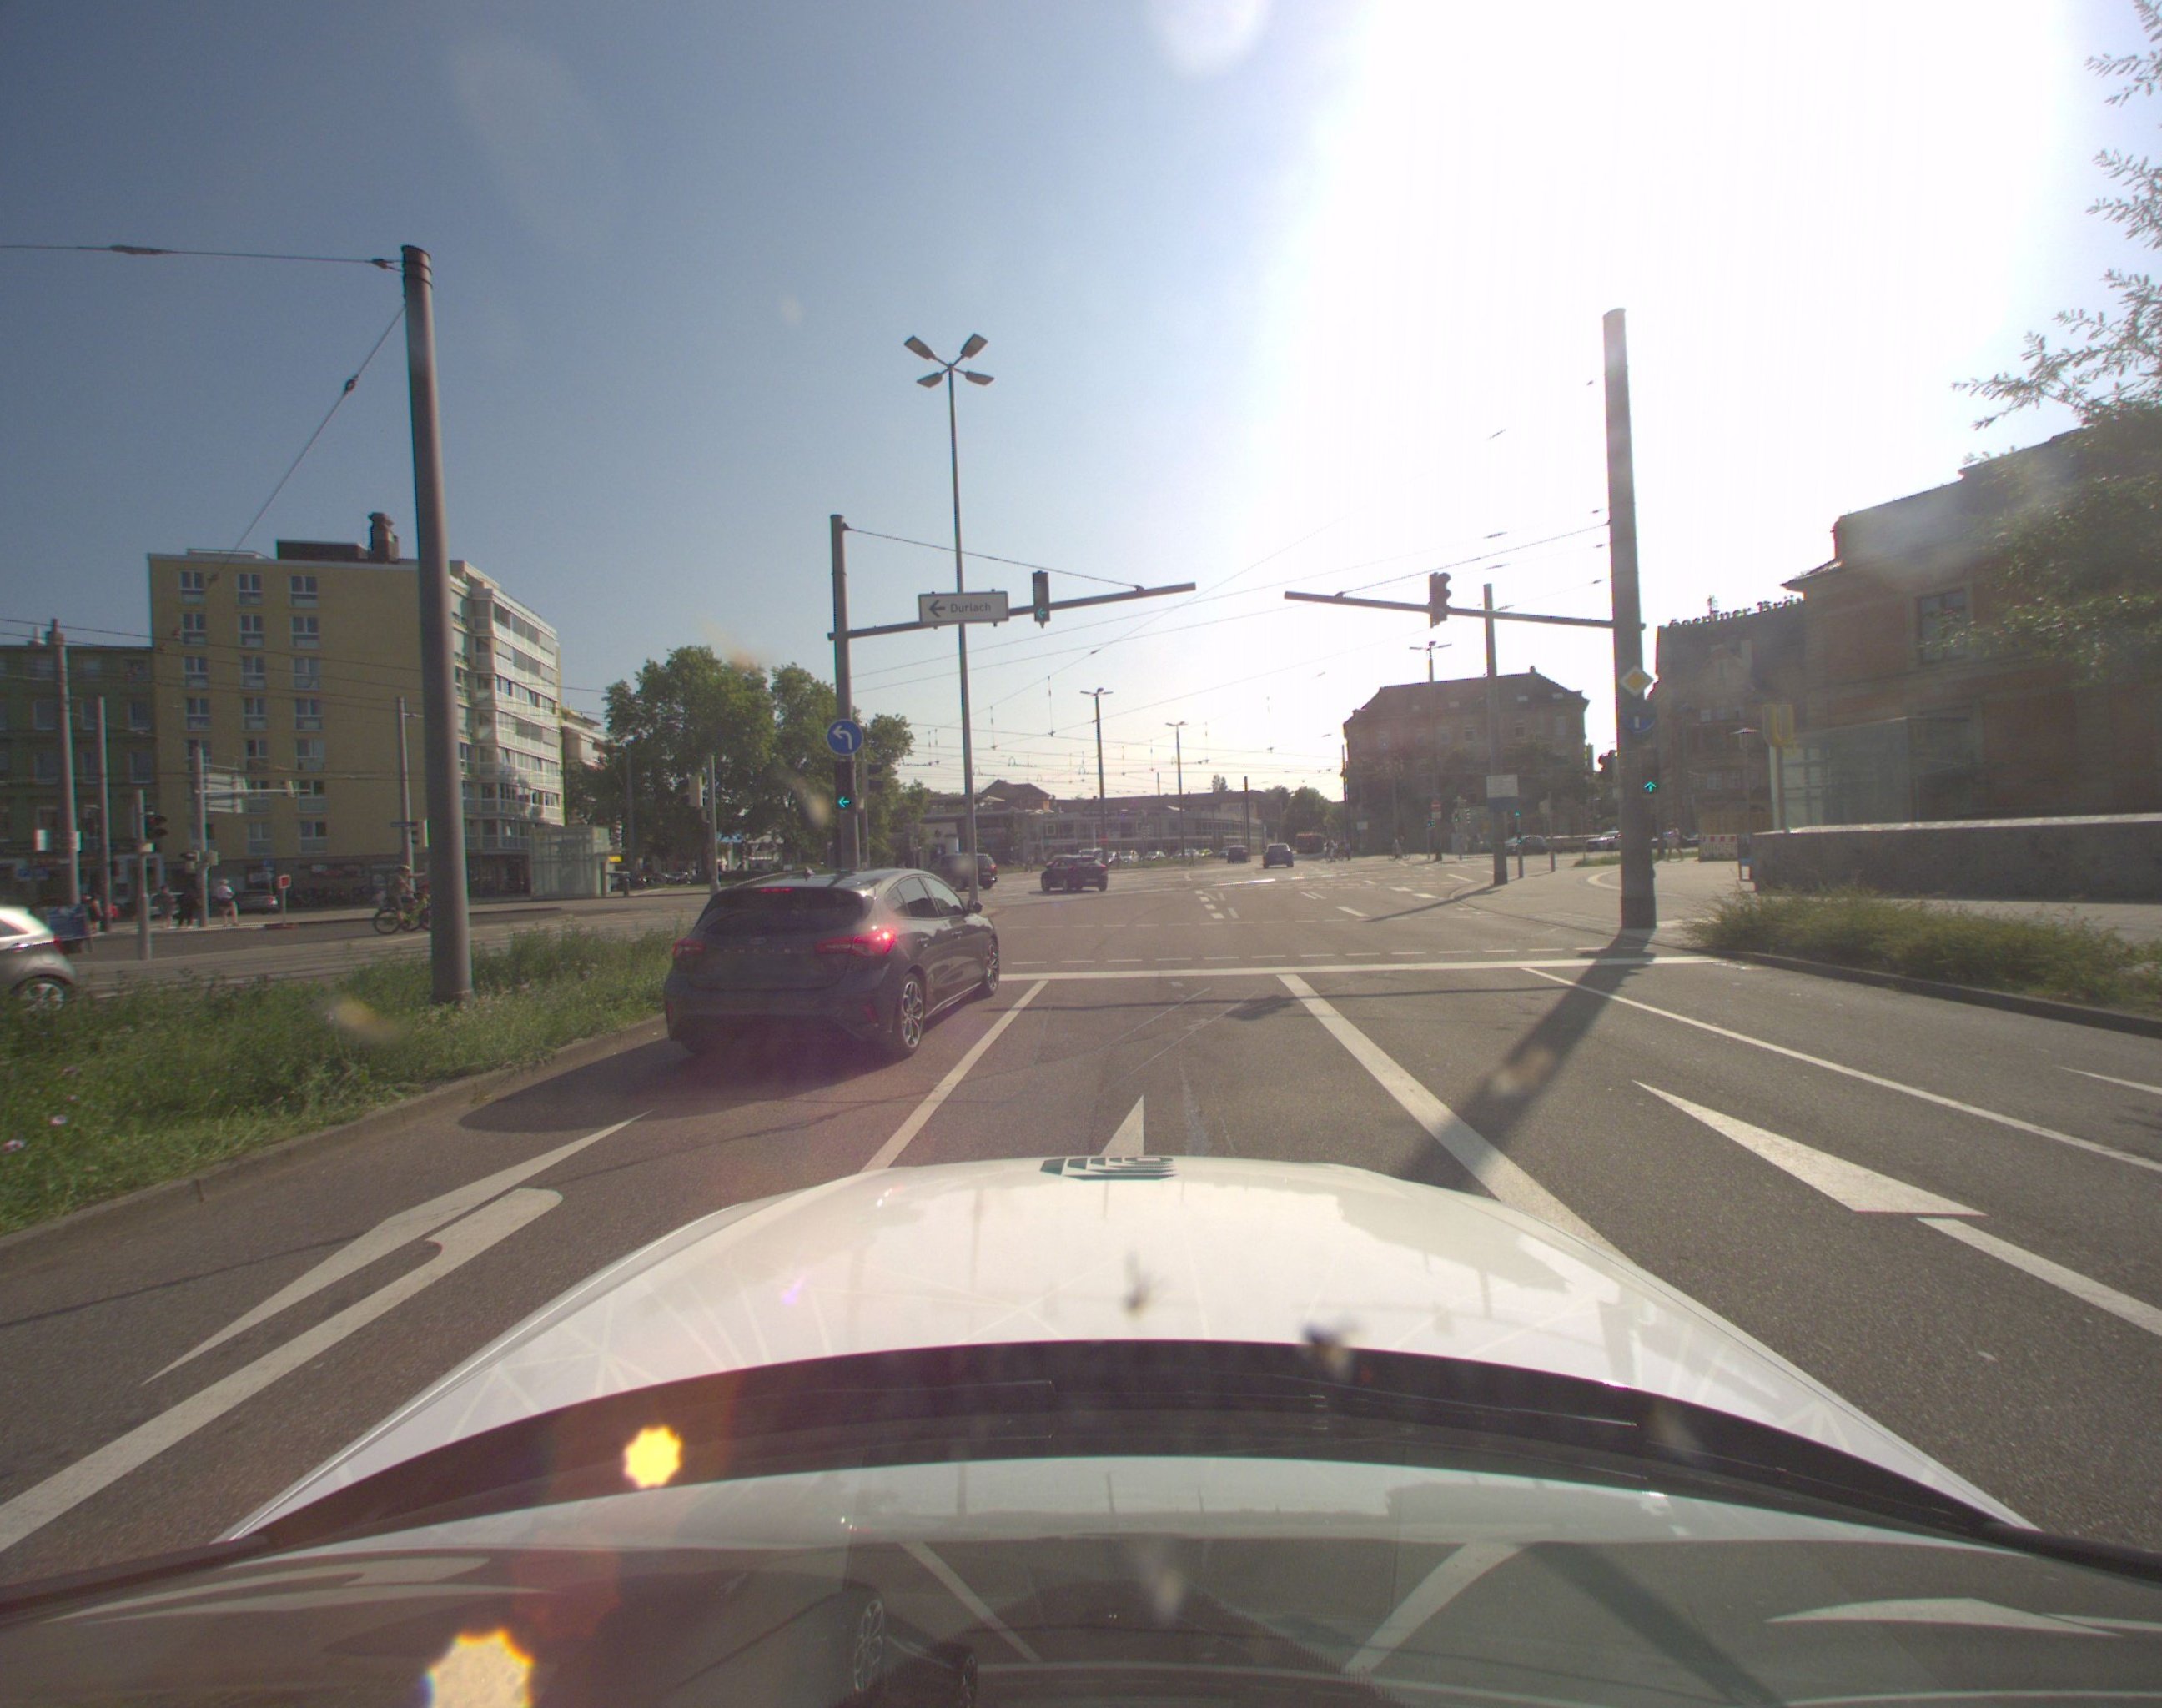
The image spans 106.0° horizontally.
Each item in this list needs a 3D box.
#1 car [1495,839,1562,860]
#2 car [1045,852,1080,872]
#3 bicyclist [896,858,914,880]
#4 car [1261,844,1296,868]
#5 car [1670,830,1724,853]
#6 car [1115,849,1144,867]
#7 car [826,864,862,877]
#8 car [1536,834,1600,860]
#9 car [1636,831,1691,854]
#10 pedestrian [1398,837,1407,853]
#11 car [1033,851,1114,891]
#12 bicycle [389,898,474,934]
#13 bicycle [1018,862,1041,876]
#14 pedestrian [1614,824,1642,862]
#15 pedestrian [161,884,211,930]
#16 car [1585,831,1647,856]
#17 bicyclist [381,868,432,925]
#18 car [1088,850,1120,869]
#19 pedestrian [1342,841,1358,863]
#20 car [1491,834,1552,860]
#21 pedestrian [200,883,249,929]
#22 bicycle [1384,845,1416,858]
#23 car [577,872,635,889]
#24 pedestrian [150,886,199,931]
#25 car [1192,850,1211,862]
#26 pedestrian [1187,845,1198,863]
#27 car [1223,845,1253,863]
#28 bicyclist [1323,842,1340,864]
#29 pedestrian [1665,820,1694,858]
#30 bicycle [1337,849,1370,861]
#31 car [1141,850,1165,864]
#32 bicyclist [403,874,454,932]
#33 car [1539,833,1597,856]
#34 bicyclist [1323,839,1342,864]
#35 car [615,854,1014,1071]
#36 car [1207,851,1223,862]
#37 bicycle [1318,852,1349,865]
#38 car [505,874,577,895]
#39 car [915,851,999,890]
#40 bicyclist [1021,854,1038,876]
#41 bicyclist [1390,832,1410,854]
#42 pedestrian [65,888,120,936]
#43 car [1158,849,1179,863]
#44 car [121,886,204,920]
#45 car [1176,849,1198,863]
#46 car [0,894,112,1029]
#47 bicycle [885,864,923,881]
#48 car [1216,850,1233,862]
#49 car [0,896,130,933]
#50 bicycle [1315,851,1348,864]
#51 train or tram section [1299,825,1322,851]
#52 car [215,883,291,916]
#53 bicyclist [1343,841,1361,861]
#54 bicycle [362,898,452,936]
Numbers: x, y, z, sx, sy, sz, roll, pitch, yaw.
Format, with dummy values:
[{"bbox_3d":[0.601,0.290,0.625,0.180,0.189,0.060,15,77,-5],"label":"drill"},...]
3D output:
[{"bbox_3d":[32.265,-0.324,58.727,4.394,1.397,2.007,-2,0,-25],"label":"car"},{"bbox_3d":[-1.511,0.645,68.092,1.601,1.475,4.019,-4,-1,19],"label":"car"},{"bbox_3d":[-12.818,1.119,59.437,1.163,1.527,0.957,-3,0,-11],"label":"bicyclist"},{"bbox_3d":[12.756,0.079,52.806,1.814,1.428,4.424,-3,0,10],"label":"car"},{"bbox_3d":[53.966,-1.127,71.355,4.257,1.859,1.895,-2,0,-25],"label":"car"},{"bbox_3d":[4.527,0.358,76.173,1.601,1.475,4.019,-4,-1,19],"label":"car"},{"bbox_3d":[-32.025,2.174,110.012,1.683,1.522,4.544,-2,0,35],"label":"car"},{"bbox_3d":[38.765,-0.558,64.784,4.713,1.859,1.896,-2,0,-23],"label":"car"},{"bbox_3d":[49.610,-0.986,69.351,4.257,1.859,1.895,-2,0,-25],"label":"car"},{"bbox_3d":[29.781,-0.812,75.423,0.671,1.471,0.540,-2,0,-41],"label":"pedestrian"},{"bbox_3d":[-0.387,0.697,33.008,1.690,1.492,4.337,-1,-1,-24],"label":"car"},{"bbox_3d":[-19.243,1.830,24.166,1.812,0.932,0.724,-2,0,-8],"label":"bicycle"},{"bbox_3d":[-4.274,1.246,68.098,0.950,1.057,2.621,-2,0,20],"label":"bicycle"},{"bbox_3d":[24.813,-0.509,36.958,0.911,1.690,0.843,-2,0,40],"label":"pedestrian"},{"bbox_3d":[-34.976,2.051,31.848,0.923,1.690,0.918,-2,0,-14],"label":"pedestrian"},{"bbox_3d":[43.781,-0.834,66.587,4.672,1.859,2.029,-2,0,-25],"label":"car"},{"bbox_3d":[-18.983,1.173,22.943,0.794,1.527,0.724,-2,0,-8],"label":"bicyclist"},{"bbox_3d":[2.009,0.439,70.045,1.601,1.475,4.019,-4,-1,19],"label":"car"},{"bbox_3d":[22.737,-0.181,68.873,0.932,1.797,0.850,-2,0,-37],"label":"pedestrian"},{"bbox_3d":[34.002,-0.513,62.865,4.257,1.859,1.895,-2,0,-25],"label":"car"},{"bbox_3d":[-33.570,2.029,31.937,0.923,1.690,0.918,-2,0,-14],"label":"pedestrian"},{"bbox_3d":[25.522,-0.195,65.161,2.637,0.964,1.081,-2,0,-34],"label":"bicycle"},{"bbox_3d":[-42.684,2.350,73.301,4.164,1.354,1.570,-2,0,-16],"label":"car"},{"bbox_3d":[-36.254,2.173,32.594,0.923,1.690,0.918,-2,0,-14],"label":"pedestrian"},{"bbox_3d":[15.783,0.256,106.643,1.601,1.475,4.020,-4,-1,20],"label":"car"},{"bbox_3d":[9.452,-0.029,69.100,0.772,1.503,0.713,-2,0,12],"label":"pedestrian"},{"bbox_3d":[14.547,0.001,75.306,1.810,1.535,4.435,-3,0,21],"label":"car"},{"bbox_3d":[21.516,-0.099,69.985,0.937,1.799,1.085,-2,0,-20],"label":"bicyclist"},{"bbox_3d":[27.187,-0.672,37.002,0.911,1.690,0.930,-2,0,43],"label":"pedestrian"},{"bbox_3d":[23.942,0.075,71.436,2.628,0.964,1.085,-2,0,-21],"label":"bicycle"},{"bbox_3d":[8.287,0.329,93.219,1.601,1.475,4.020,-4,-1,20],"label":"car"},{"bbox_3d":[-19.332,1.437,24.154,0.881,1.652,0.724,-2,0,-8],"label":"bicyclist"},{"bbox_3d":[42.895,-0.827,71.796,4.267,1.859,1.922,-2,0,-15],"label":"car"},{"bbox_3d":[20.947,-0.199,67.721,0.941,2.024,1.081,-2,0,-34],"label":"bicyclist"},{"bbox_3d":[-2.037,0.752,7.832,1.822,1.435,4.559,-2,0,7],"label":"car"},{"bbox_3d":[20.304,0.335,123.176,1.601,1.475,4.020,-4,-1,20],"label":"car"},{"bbox_3d":[21.007,0.343,67.741,2.637,0.964,1.081,-2,0,-34],"label":"bicycle"},{"bbox_3d":[-40.148,2.260,60.629,4.164,1.354,1.474,-2,0,-16],"label":"car"},{"bbox_3d":[-5.949,0.794,38.661,1.841,1.714,4.359,-3,0,-41],"label":"car"},{"bbox_3d":[-4.295,0.915,68.070,0.950,1.748,1.172,-2,0,19],"label":"bicyclist"},{"bbox_3d":[25.554,-0.912,65.204,0.941,1.708,1.081,-2,0,-34],"label":"bicyclist"},{"bbox_3d":[-37.202,2.163,30.658,0.923,1.690,0.918,-2,0,-14],"label":"pedestrian"},{"bbox_3d":[10.793,0.242,100.217,1.601,1.475,4.020,-4,-1,20],"label":"car"},{"bbox_3d":[-50.791,2.698,45.030,4.492,1.678,2.012,-2,0,28],"label":"car"},{"bbox_3d":[12.523,0.226,95.876,1.601,1.475,4.020,-4,-1,20],"label":"car"},{"bbox_3d":[-12.931,1.256,8.211,1.883,1.451,3.673,-2,0,-1],"label":"car"},{"bbox_3d":[-12.920,1.358,59.422,2.601,1.057,0.957,-3,0,-11],"label":"bicycle"},{"bbox_3d":[20.471,0.273,115.923,1.601,1.475,4.020,-4,-1,20],"label":"car"},{"bbox_3d":[-50.088,2.964,40.078,4.382,1.535,1.832,-3,0,1],"label":"car"},{"bbox_3d":[21.546,0.322,69.993,2.628,0.964,1.085,-2,0,-21],"label":"bicycle"},{"bbox_3d":[35.443,-2.440,125.633,2.633,3.699,10.641,-3,0,19],"label":"train or tram section"},{"bbox_3d":[-46.205,2.537,45.404,4.491,1.678,2.013,-2,0,32],"label":"car"},{"bbox_3d":[23.748,-0.285,71.361,0.937,1.680,1.085,-2,0,-20],"label":"bicyclist"},{"bbox_3d":[-18.958,1.755,22.940,1.812,0.932,0.724,-2,0,-8],"label":"bicycle"}]
